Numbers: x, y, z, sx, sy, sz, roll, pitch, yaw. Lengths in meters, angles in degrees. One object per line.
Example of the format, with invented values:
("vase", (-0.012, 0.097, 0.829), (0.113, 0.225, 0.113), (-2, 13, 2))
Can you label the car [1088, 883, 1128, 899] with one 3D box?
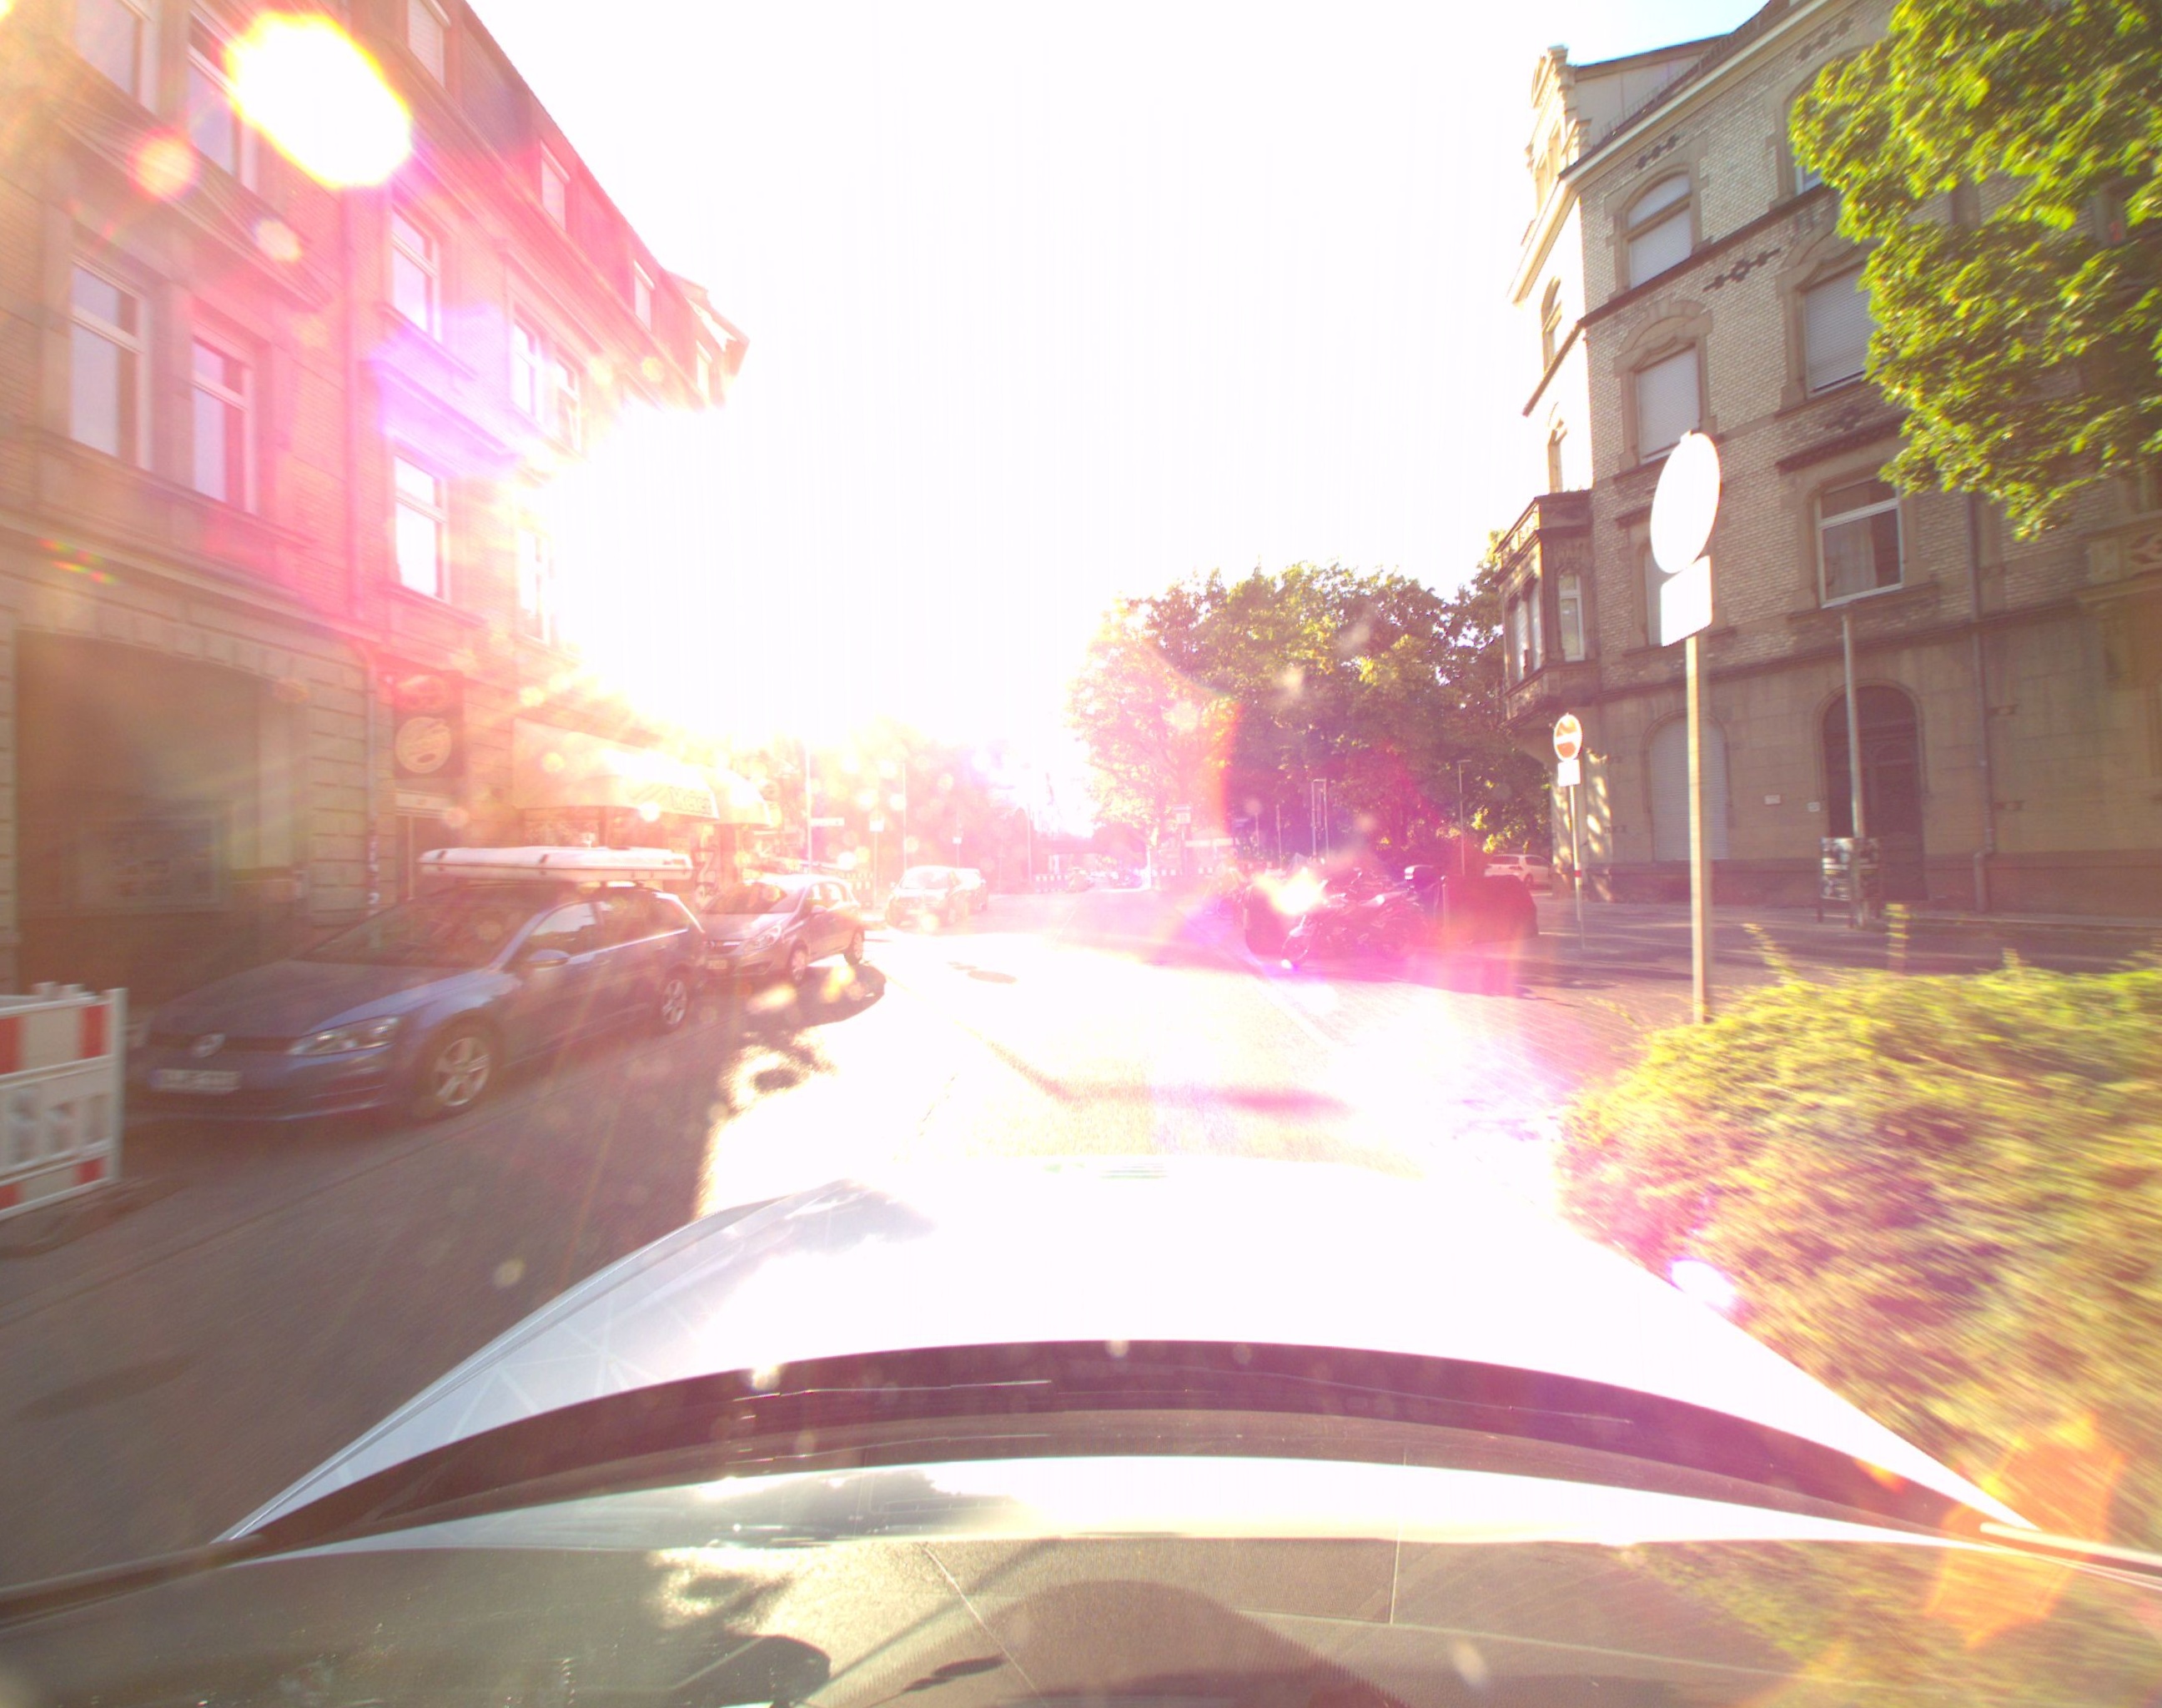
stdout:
("car", (2.982, 4.106, 90.848), (4.374, 1.702, 1.915), (-1, -4, -1))

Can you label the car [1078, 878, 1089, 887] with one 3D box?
("car", (0.463, 4.944, 139.403), (1.806, 1.398, 3.975), (-3, -3, 1))

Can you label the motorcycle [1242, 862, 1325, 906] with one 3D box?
("motorcycle", (5.896, 0.869, 23.760), (2.266, 1.180, 0.975), (-2, -1, 14))

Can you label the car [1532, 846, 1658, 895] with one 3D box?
("car", (17.032, 0.585, 26.933), (4.384, 1.378, 1.977), (2, -7, -36))

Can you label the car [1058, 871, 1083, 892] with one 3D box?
("car", (-0.786, 2.114, 62.466), (1.709, 1.418, 4.106), (-3, -3, 1))

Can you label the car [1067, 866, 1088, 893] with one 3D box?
("car", (-0.364, 2.630, 82.360), (2.041, 2.498, 5.694), (-1, -3, 0))

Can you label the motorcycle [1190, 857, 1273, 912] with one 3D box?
("motorcycle", (4.003, 0.809, 21.641), (1.913, 1.412, 0.947), (-2, -1, 30))

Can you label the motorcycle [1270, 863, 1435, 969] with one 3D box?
("motorcycle", (3.663, 0.821, 11.084), (2.009, 1.327, 0.620), (-2, -1, -2))

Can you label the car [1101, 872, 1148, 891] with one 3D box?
("car", (4.154, 2.623, 77.977), (4.374, 1.702, 1.915), (-1, -4, -1))

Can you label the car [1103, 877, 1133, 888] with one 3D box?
("car", (5.593, 4.236, 122.098), (4.374, 1.610, 1.780), (-1, -4, -1))

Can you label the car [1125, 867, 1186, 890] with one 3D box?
("car", (5.624, 1.873, 61.691), (4.376, 1.606, 1.914), (0, -4, -2))

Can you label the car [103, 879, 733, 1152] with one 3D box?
("car", (-4.812, 1.009, 6.930), (1.759, 1.437, 4.301), (-2, 0, 1))

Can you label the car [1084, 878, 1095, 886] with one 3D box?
("car", (1.571, 5.117, 149.192), (1.806, 1.398, 3.975), (-3, -3, 1))

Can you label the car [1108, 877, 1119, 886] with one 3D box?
("car", (5.923, 4.977, 148.680), (1.768, 1.609, 4.403), (-2, -2, 2))

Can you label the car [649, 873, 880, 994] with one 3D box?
("car", (-4.436, 1.036, 12.142), (1.718, 1.437, 3.998), (0, 0, 3))

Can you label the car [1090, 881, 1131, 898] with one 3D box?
("car", (3.193, 3.845, 88.479), (4.374, 1.702, 1.915), (-1, -4, -1))

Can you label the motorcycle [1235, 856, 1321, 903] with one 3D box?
("motorcycle", (6.077, 0.780, 25.177), (2.363, 1.341, 0.938), (-2, -1, -8))

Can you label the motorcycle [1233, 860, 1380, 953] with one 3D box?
("motorcycle", (3.561, 0.807, 12.995), (2.016, 1.285, 0.904), (-4, -1, 0))

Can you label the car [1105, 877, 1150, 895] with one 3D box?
("car", (4.679, 3.225, 82.301), (4.374, 1.702, 1.915), (-1, -4, -1))

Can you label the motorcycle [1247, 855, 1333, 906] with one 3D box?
("motorcycle", (5.833, 0.736, 22.812), (2.266, 1.341, 0.658), (-2, -1, 13))

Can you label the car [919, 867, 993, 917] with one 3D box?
("car", (-4.048, 1.196, 26.927), (1.663, 1.458, 4.001), (-2, -1, 2))

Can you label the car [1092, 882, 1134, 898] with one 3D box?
("car", (3.372, 3.827, 86.394), (4.374, 1.702, 1.915), (-1, -4, -1))

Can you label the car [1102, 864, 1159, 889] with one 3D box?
("car", (4.272, 1.956, 70.641), (4.729, 1.997, 1.915), (-1, -4, -2))

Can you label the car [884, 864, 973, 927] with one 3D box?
("car", (-4.103, 1.078, 22.474), (1.664, 1.530, 3.999), (-2, -1, 0))

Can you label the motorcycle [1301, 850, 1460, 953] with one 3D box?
("motorcycle", (4.371, 0.684, 11.995), (2.015, 1.362, 0.695), (-3, -1, 2))

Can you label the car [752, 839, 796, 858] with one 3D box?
("car", (-33.375, -0.621, 88.628), (4.384, 2.014, 1.921), (-1, -1, -21))

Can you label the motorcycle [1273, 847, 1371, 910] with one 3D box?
("motorcycle", (6.227, 0.625, 21.088), (2.278, 1.531, 0.755), (-2, -1, -4))

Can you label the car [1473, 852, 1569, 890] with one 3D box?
("car", (18.427, 0.713, 34.068), (4.016, 1.413, 1.862), (2, 0, -35))

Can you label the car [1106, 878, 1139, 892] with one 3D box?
("car", (5.618, 4.194, 110.116), (4.374, 1.862, 1.915), (-1, -4, -1))

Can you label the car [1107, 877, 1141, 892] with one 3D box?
("car", (5.702, 4.018, 107.553), (4.374, 1.785, 1.915), (-1, -4, -1))

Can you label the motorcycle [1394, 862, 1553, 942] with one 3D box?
("motorcycle", (6.149, 0.734, 12.842), (2.016, 1.108, 0.904), (-3, -1, 0))
